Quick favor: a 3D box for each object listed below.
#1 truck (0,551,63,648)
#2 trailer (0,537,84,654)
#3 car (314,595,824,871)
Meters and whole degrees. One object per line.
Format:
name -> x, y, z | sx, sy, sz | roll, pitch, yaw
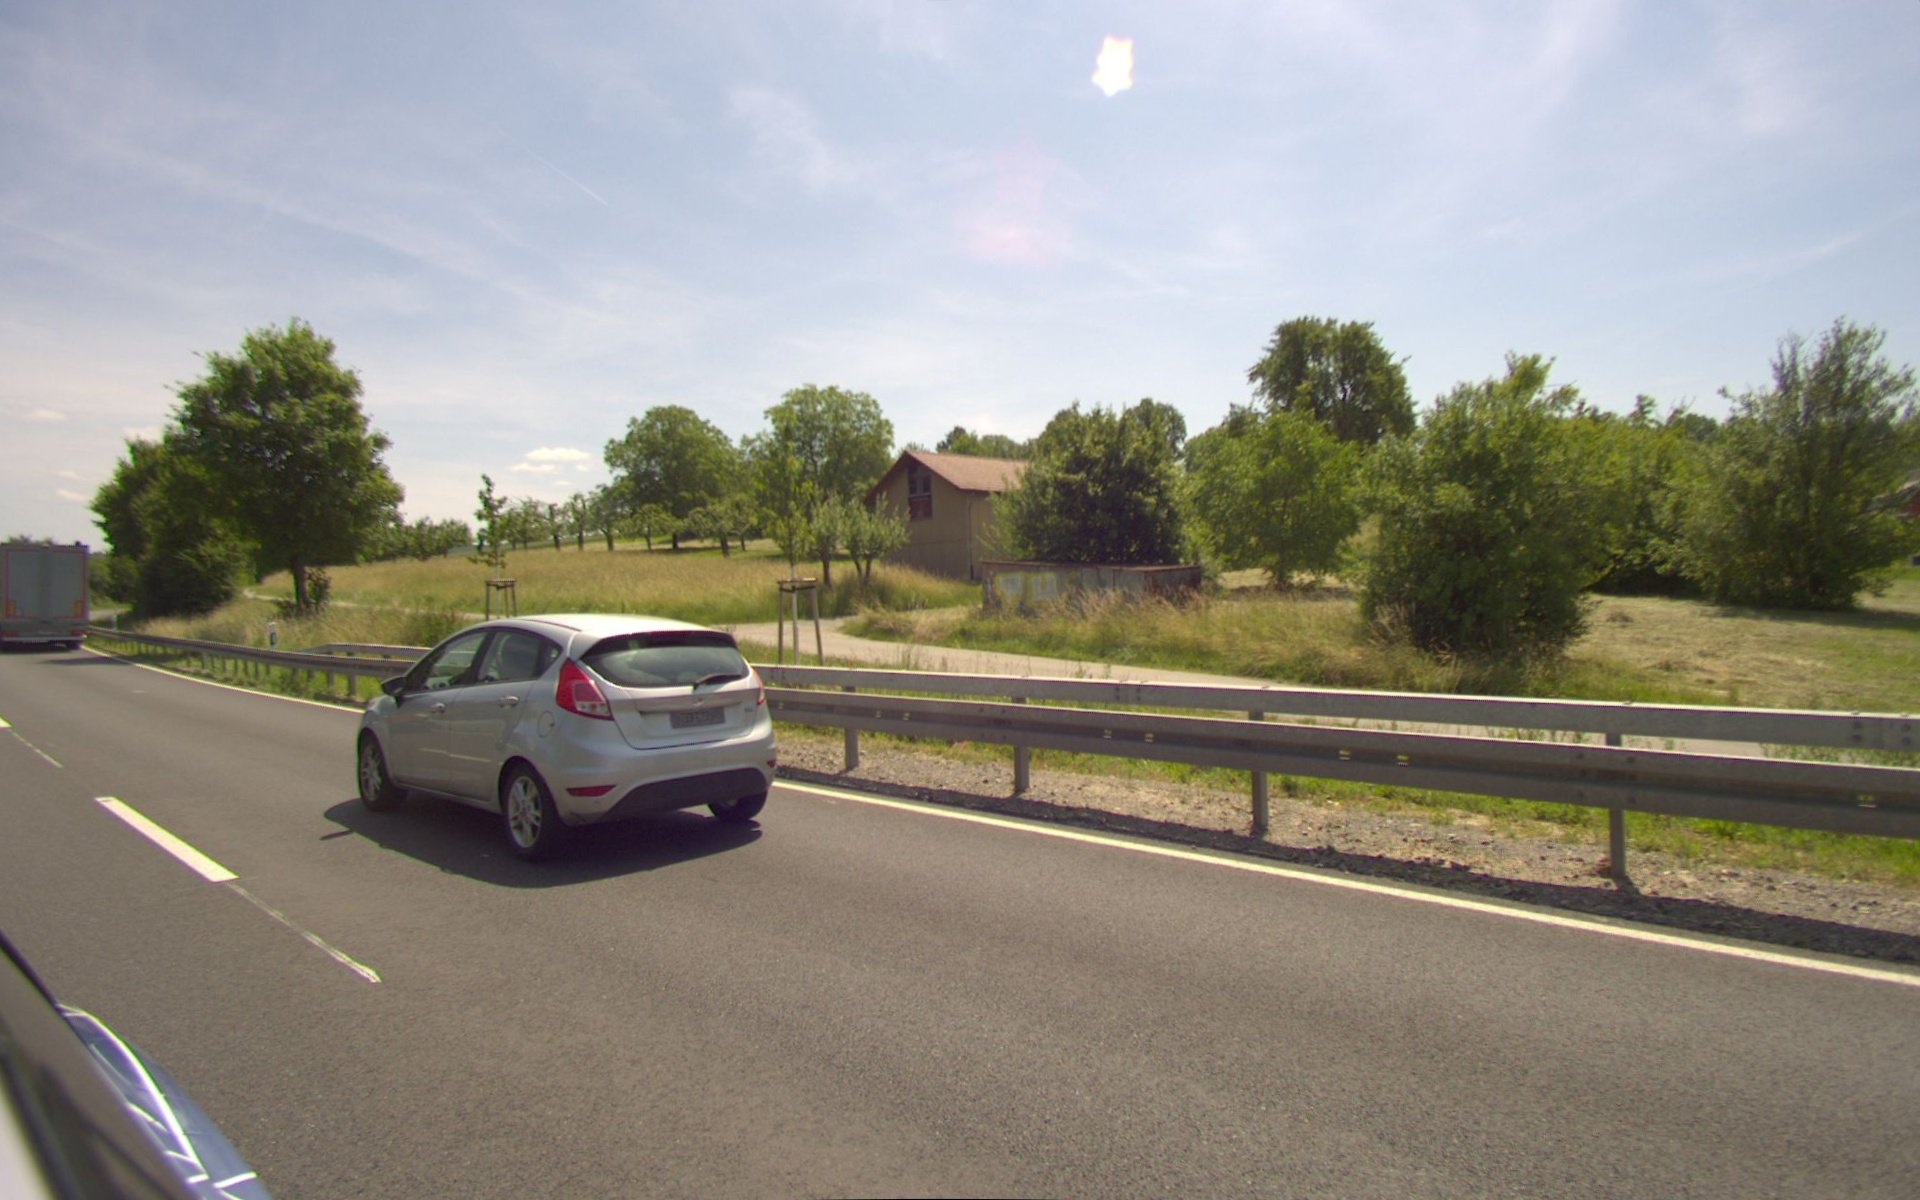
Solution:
truck -> -43.457, 0.018, 46.879 | 5.651, 4.227, 2.418 | -1, -2, 45
trailer -> -38.933, -0.052, 42.392 | 2.417, 4.216, 14.023 | 1, -2, -45
car -> -2.998, 0.762, 7.306 | 4.155, 1.452, 1.630 | -2, -2, 40
